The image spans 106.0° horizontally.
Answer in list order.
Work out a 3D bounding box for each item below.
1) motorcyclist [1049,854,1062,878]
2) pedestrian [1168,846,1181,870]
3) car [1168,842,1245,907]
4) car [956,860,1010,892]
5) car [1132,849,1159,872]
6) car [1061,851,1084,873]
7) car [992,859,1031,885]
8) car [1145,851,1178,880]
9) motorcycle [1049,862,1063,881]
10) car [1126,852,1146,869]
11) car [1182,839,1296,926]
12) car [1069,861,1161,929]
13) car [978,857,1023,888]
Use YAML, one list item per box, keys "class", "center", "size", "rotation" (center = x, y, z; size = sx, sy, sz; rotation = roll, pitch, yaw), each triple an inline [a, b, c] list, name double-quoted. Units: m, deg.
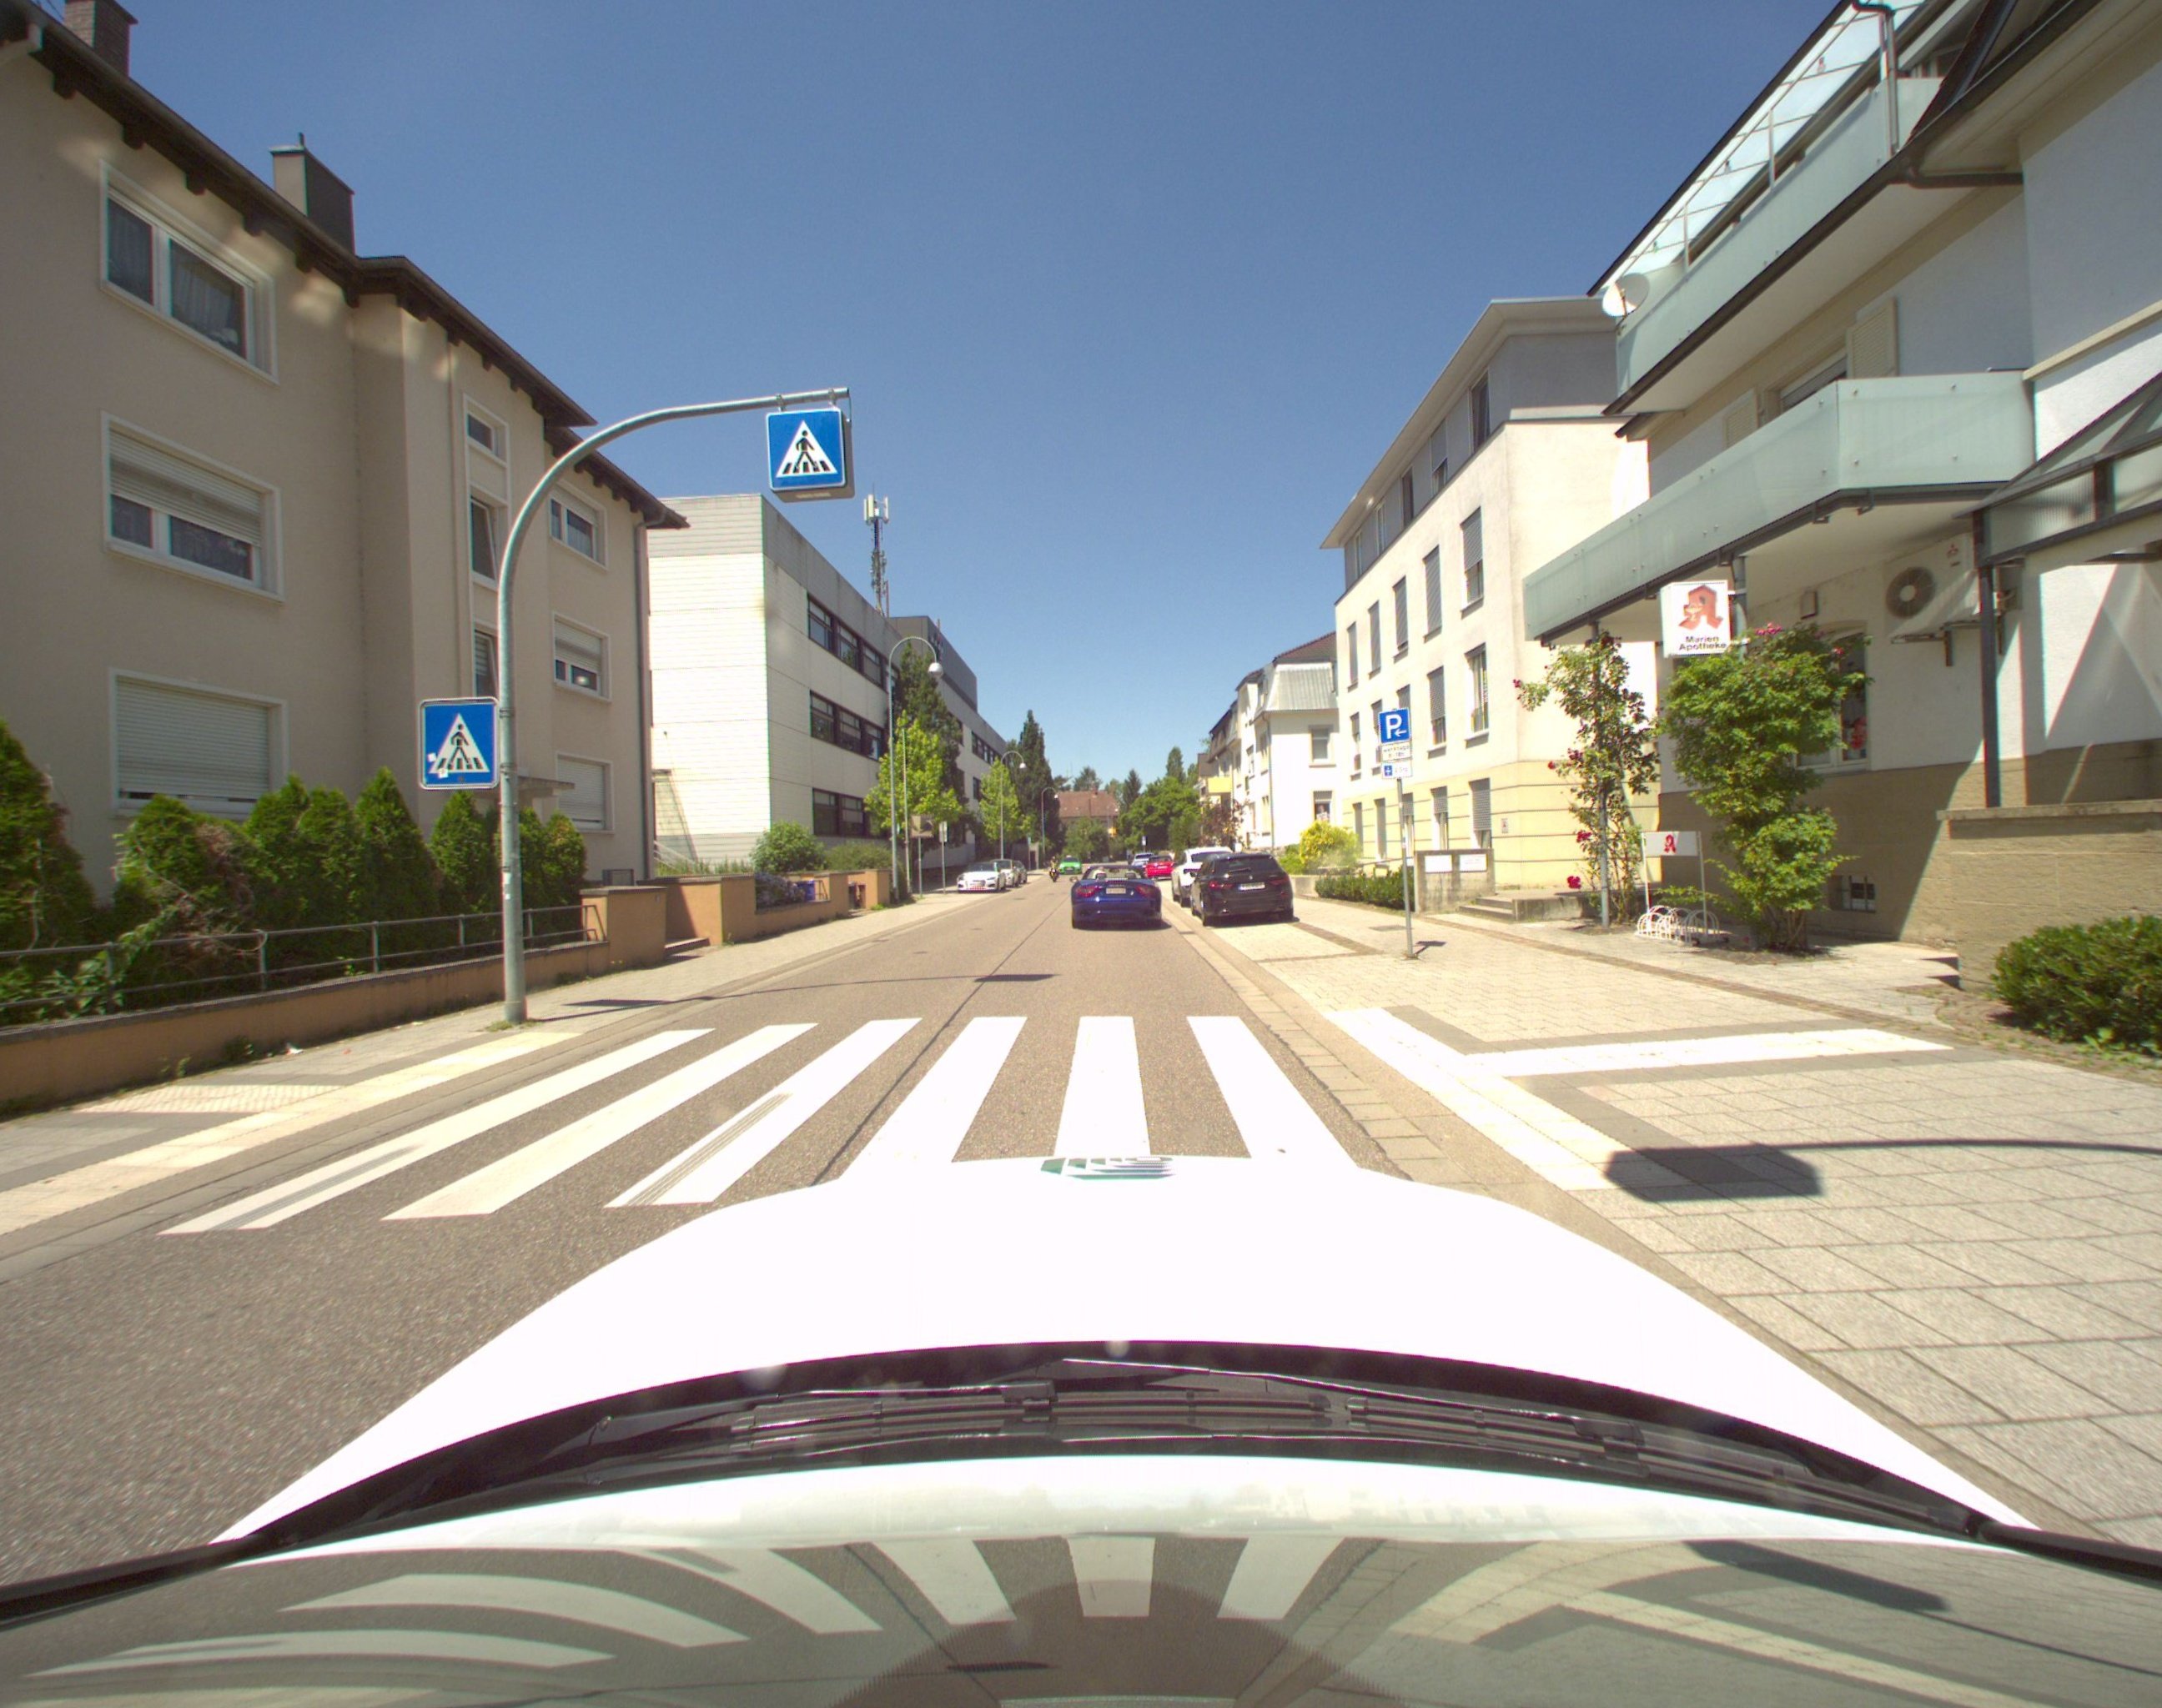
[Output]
- class: "motorcyclist"
  center: [-1.574, 0.727, 50.500]
  size: [0.696, 1.433, 0.707]
  rotation: [-3, 0, 2]
- class: "pedestrian"
  center: [6.786, 0.274, 59.013]
  size: [0.738, 1.669, 0.706]
  rotation: [-4, 0, 0]
- class: "car"
  center: [3.667, 0.558, 24.514]
  size: [1.698, 1.666, 4.582]
  rotation: [-3, 0, 2]
- class: "car"
  center: [-4.575, 1.000, 38.590]
  size: [1.815, 1.411, 4.579]
  rotation: [0, 0, 2]
- class: "car"
  center: [4.931, 0.488, 62.736]
  size: [1.836, 1.619, 4.430]
  rotation: [-4, 0, 2]
- class: "car"
  center: [-0.710, 0.635, 67.855]
  size: [1.816, 1.588, 4.101]
  rotation: [-3, 2, 0]
- class: "car"
  center: [-4.137, 1.066, 49.089]
  size: [1.741, 1.409, 3.936]
  rotation: [-2, 0, 3]
- class: "car"
  center: [4.493, 0.634, 45.880]
  size: [1.597, 1.440, 3.856]
  rotation: [-5, 0, 3]
- class: "motorcycle"
  center: [-1.560, 1.062, 50.676]
  size: [0.696, 1.107, 1.791]
  rotation: [-3, 0, 2]
- class: "car"
  center: [5.216, 0.554, 77.301]
  size: [1.625, 1.446, 4.399]
  rotation: [-4, 0, 2]
- class: "car"
  center: [3.393, 0.565, 18.358]
  size: [1.698, 1.556, 4.750]
  rotation: [-5, 0, 2]
- class: "car"
  center: [0.761, 0.843, 18.586]
  size: [1.820, 1.337, 4.702]
  rotation: [0, 0, 2]
- class: "car"
  center: [-4.308, 0.966, 44.244]
  size: [1.815, 1.512, 4.291]
  rotation: [-1, 0, 2]
